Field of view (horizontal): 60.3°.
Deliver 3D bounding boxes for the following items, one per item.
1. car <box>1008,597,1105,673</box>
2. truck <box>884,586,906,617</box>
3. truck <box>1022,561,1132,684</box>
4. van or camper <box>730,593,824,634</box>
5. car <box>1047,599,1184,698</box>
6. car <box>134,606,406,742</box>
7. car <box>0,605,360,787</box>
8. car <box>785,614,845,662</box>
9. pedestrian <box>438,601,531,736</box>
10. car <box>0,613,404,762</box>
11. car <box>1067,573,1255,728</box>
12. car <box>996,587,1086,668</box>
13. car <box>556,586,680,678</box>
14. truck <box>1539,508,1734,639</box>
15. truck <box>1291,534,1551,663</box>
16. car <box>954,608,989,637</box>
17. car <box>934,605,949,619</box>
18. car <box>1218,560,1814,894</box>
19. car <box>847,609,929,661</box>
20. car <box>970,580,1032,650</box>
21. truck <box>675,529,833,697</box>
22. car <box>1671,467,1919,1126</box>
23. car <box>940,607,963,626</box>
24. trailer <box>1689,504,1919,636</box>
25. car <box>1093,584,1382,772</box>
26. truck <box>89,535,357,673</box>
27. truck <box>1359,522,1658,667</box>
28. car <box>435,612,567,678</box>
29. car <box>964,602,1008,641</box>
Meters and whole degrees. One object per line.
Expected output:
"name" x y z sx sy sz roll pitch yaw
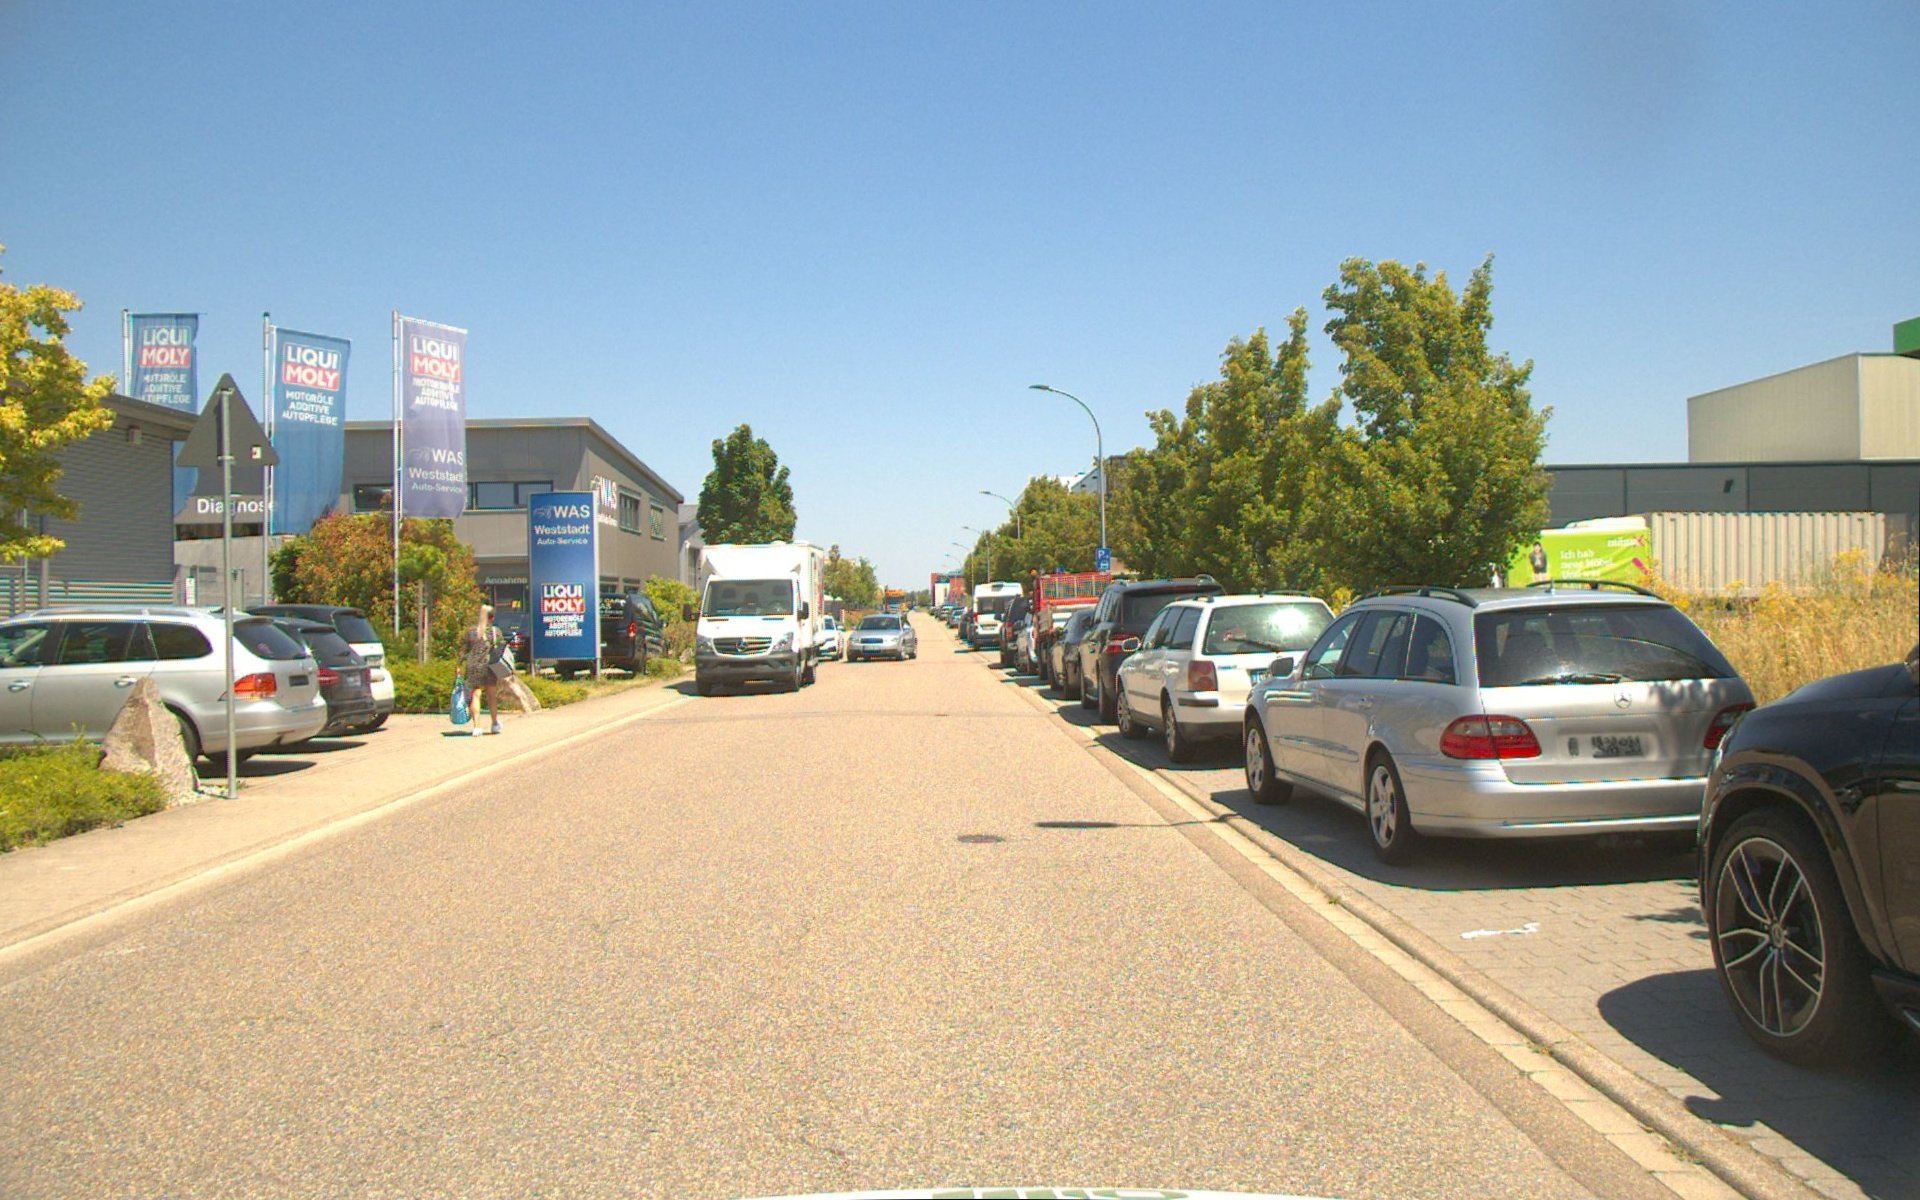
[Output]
"car" 2.145 0.779 37.781 1.704 1.557 3.997 -3 0 -3
"truck" -7.804 0.129 199.448 2.399 3.574 8.269 -2 0 -2
"truck" 2.283 0.446 33.301 1.645 2.219 4.388 -3 0 -2
"van or camper" -14.675 1.057 132.832 7.236 3.090 2.789 -1 0 -3
"car" 2.478 0.751 27.447 1.663 1.407 4.836 -3 0 -1
"car" -8.394 0.872 20.293 2.686 1.544 1.535 -1 0 -3
"car" -8.006 0.857 15.365 4.177 1.544 1.865 -1 0 -3
"car" -4.756 1.229 54.615 1.695 1.484 4.490 -1 -1 -2
"pedestrian" -5.761 0.816 20.077 0.880 1.602 0.785 1 0 -1
"car" -8.489 0.916 17.992 4.221 1.457 1.846 -1 0 -1
"car" 2.553 0.596 22.113 1.774 1.755 4.772 -3 0 -1
"car" 2.083 0.710 43.967 1.953 1.917 5.154 -2 0 -1
"car" -7.910 0.727 38.735 1.953 1.991 5.216 -1 -1 -2
"truck" 21.423 -0.784 52.580 4.960 3.943 2.803 -1 -1 -1
"truck" 11.402 -0.029 41.184 5.704 2.964 2.413 -2 -1 -2
"car" 0.687 1.281 94.387 1.673 1.531 4.707 -2 -1 3
"car" -2.007 1.283 178.366 1.553 1.434 3.499 -1 0 -2
"car" 3.069 0.611 10.369 1.769 1.508 4.769 -3 0 -4
"car" -2.214 1.076 51.830 1.745 1.447 4.417 -3 -1 7
"car" 1.570 0.572 65.068 2.221 2.541 6.152 -2 0 0
"truck" -3.973 0.264 33.161 2.314 2.910 6.413 -3 -1 -1
"car" 3.464 0.475 3.407 1.909 1.730 4.544 -3 0 -1
"car" -0.657 1.316 131.155 1.683 1.475 3.645 -2 0 -2
"trailer" 30.067 -0.976 52.788 12.363 3.943 2.803 -1 -1 -1
"car" 2.562 0.667 16.464 1.680 1.508 4.769 -3 0 -4
"truck" -20.822 0.113 46.606 7.882 3.619 2.583 0 0 28
"truck" 12.041 -0.120 36.577 5.786 2.922 2.304 -2 -1 -5
"car" -10.771 1.018 39.165 1.892 1.441 4.767 0 -1 -2
"car" 1.272 1.064 82.152 1.953 1.857 4.352 -2 -1 -2
